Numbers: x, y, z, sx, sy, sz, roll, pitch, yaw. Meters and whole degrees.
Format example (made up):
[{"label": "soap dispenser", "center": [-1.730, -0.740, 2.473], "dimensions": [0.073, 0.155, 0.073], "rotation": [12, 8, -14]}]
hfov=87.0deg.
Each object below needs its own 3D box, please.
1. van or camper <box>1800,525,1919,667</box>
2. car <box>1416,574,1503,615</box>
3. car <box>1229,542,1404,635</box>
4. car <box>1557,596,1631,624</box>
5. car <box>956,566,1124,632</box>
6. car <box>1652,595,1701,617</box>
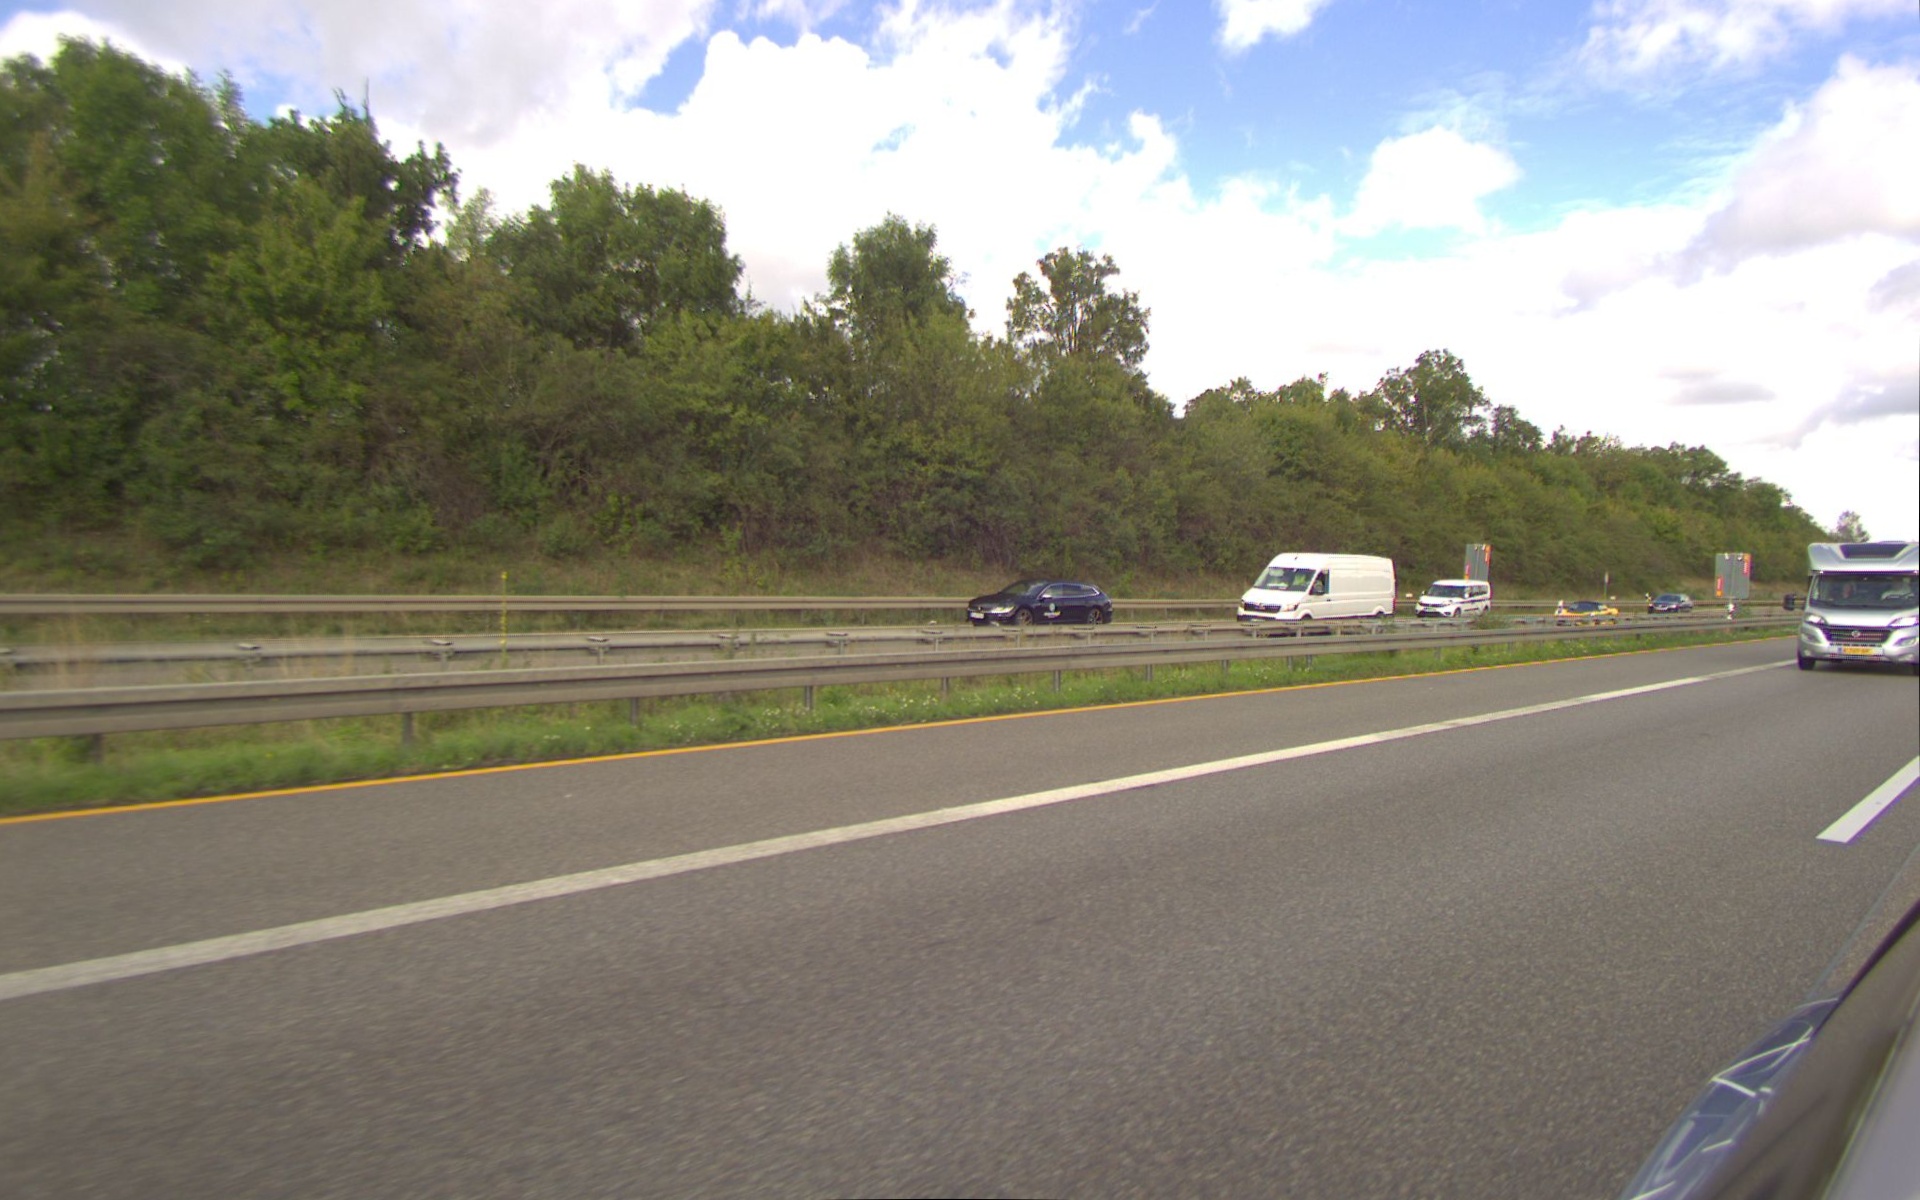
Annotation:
[{"label": "van or camper", "center": [21.054, -0.085, 22.506], "dimensions": [7.527, 2.756, 2.473], "rotation": [0, 0, -41]}, {"label": "car", "center": [22.731, -0.231, 45.985], "dimensions": [4.680, 1.774, 1.847], "rotation": [0, 0, -41]}, {"label": "car", "center": [11.122, -0.345, 31.234], "dimensions": [6.624, 2.586, 2.074], "rotation": [0, 2, -41]}, {"label": "car", "center": [28.634, 0.422, 45.665], "dimensions": [4.096, 1.196, 1.715], "rotation": [0, 1, -41]}, {"label": "car", "center": [2.285, -0.050, 27.861], "dimensions": [4.681, 1.622, 1.847], "rotation": [0, 3, -42]}, {"label": "car", "center": [48.117, 0.401, 67.939], "dimensions": [4.095, 1.433, 1.715], "rotation": [0, 1, -41]}]
